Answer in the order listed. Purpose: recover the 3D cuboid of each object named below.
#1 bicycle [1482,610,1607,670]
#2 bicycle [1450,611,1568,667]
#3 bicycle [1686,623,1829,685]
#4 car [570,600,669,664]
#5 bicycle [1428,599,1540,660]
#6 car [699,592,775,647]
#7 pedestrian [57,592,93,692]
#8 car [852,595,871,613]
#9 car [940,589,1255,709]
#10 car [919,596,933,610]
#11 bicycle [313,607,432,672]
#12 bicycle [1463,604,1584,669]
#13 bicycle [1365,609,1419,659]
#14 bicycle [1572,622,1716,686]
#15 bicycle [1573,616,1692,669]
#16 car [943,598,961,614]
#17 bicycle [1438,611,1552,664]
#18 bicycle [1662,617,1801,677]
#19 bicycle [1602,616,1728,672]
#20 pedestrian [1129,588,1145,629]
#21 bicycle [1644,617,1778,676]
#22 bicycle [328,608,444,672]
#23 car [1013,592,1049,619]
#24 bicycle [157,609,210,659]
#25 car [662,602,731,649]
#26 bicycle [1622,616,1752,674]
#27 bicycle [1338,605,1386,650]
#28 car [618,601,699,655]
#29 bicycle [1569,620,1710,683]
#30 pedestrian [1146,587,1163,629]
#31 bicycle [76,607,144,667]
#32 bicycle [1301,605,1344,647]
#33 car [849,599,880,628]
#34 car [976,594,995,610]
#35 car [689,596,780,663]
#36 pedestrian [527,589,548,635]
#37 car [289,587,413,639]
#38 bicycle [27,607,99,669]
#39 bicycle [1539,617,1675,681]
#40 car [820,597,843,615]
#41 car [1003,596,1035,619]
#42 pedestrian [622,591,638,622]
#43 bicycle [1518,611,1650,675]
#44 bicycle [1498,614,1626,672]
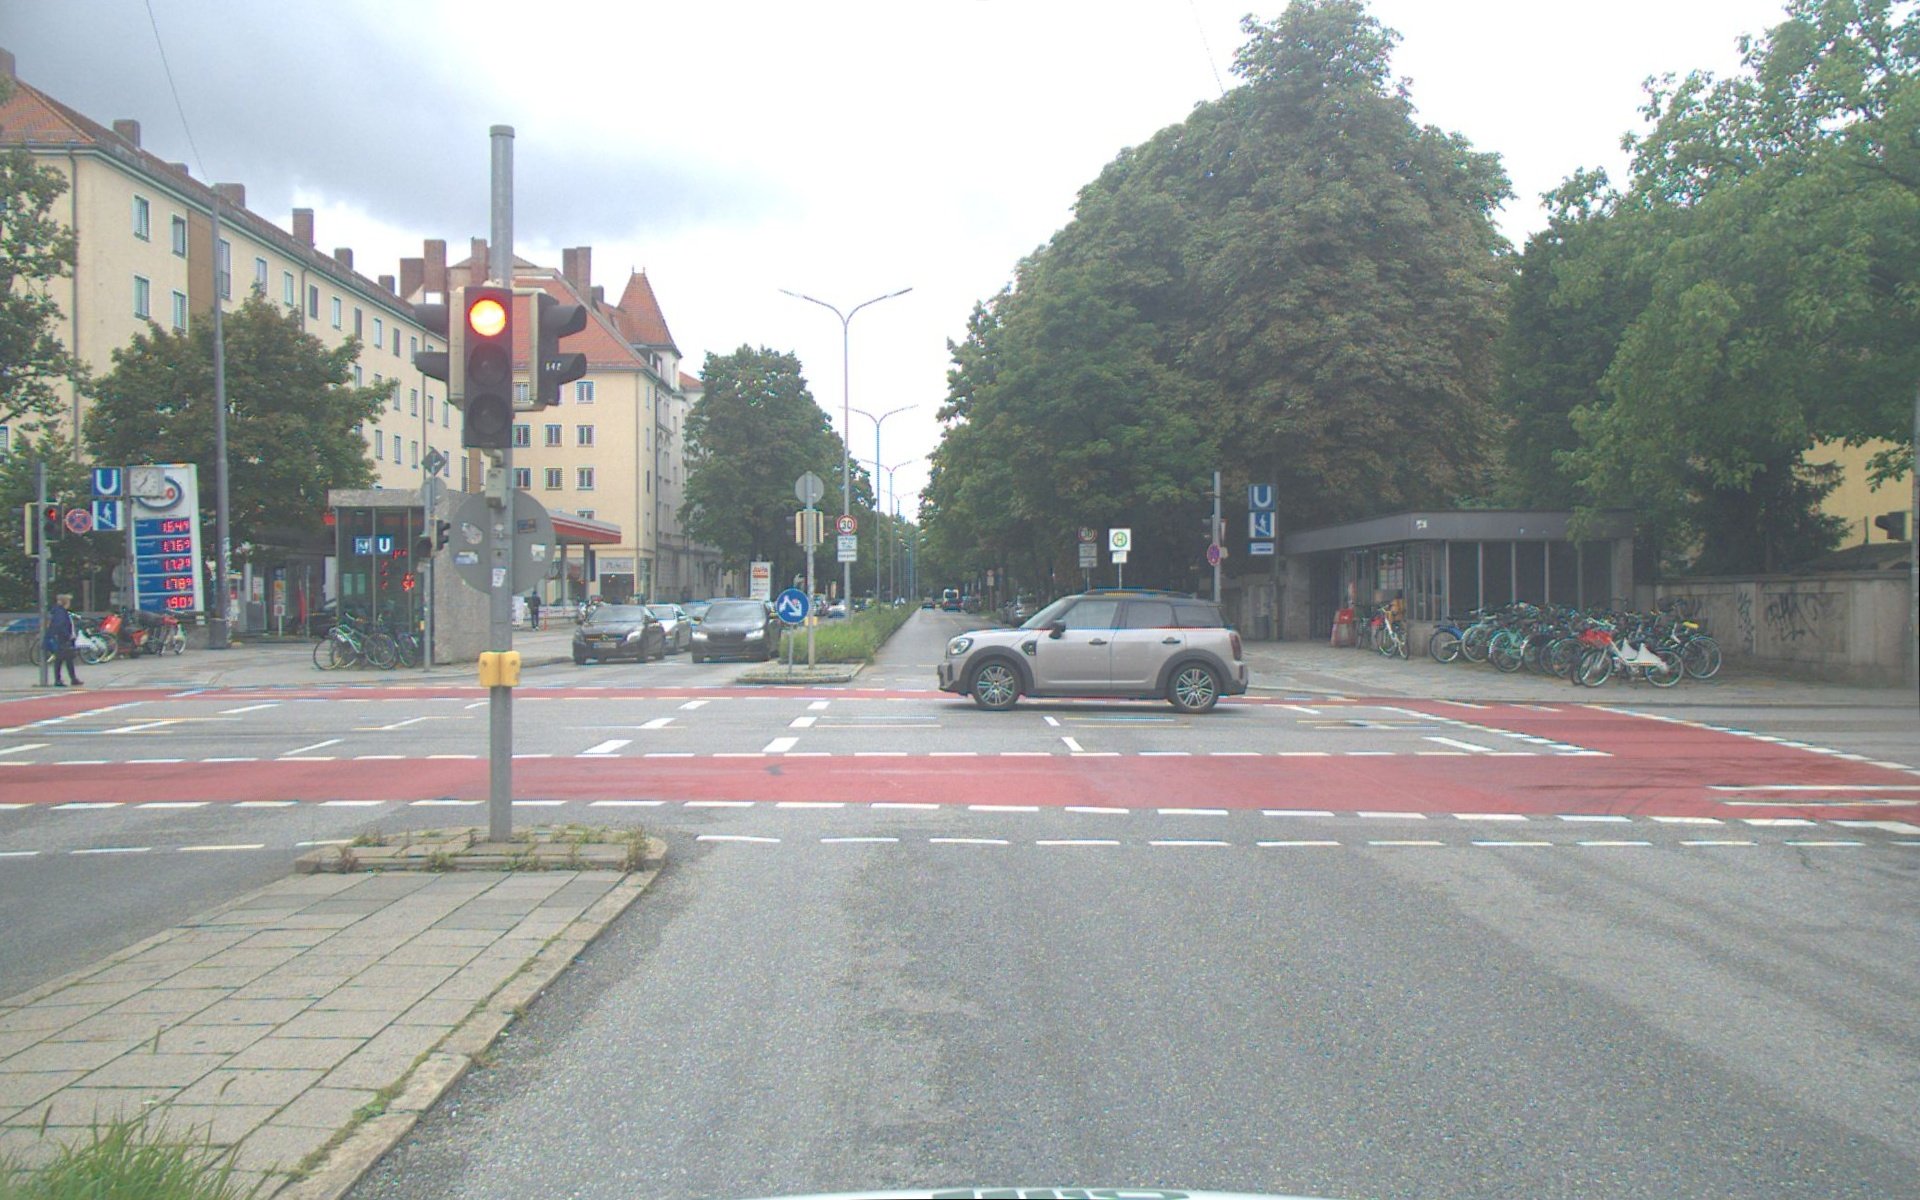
[{"bbox_3d":[10.833,0.740,30.690,2.097,1.105,0.603,0,0,7],"label":"bicycle"},{"bbox_3d":[10.648,0.753,32.126,2.097,1.080,0.603,0,0,7],"label":"bicycle"},{"bbox_3d":[13.548,0.920,28.141,2.097,1.032,0.634,0,0,7],"label":"bicycle"},{"bbox_3d":[-8.481,0.761,41.490,1.724,1.486,3.999,0,0,-1],"label":"car"},{"bbox_3d":[10.674,0.599,33.723,2.097,1.240,0.603,0,0,7],"label":"bicycle"},{"bbox_3d":[-6.428,0.529,48.023,1.724,1.519,3.999,0,0,-1],"label":"car"},{"bbox_3d":[-15.458,0.726,28.896,0.527,1.725,0.572,0,0,-27],"label":"pedestrian"},{"bbox_3d":[-10.618,0.398,178.916,1.912,1.855,3.999,0,0,-1],"label":"car"},{"bbox_3d":[1.793,0.636,22.437,4.084,1.540,1.695,0,0,-2],"label":"car"},{"bbox_3d":[-4.361,0.394,210.609,1.819,1.713,3.999,0,0,-1],"label":"car"},{"bbox_3d":[-12.299,0.816,34.662,2.225,1.327,0.704,0,0,0],"label":"bicycle"},{"bbox_3d":[10.691,0.691,31.425,2.097,1.199,0.603,0,0,7],"label":"bicycle"},{"bbox_3d":[9.442,0.734,36.217,0.545,1.032,2.014,0,0,-3],"label":"bicycle"},{"bbox_3d":[11.222,0.879,27.169,2.097,1.032,0.603,0,0,7],"label":"bicycle"},{"bbox_3d":[13.340,0.838,32.863,2.097,1.032,0.634,0,0,7],"label":"bicycle"},{"bbox_3d":[-0.928,0.608,182.674,1.884,1.713,3.999,0,0,-1],"label":"car"},{"bbox_3d":[10.660,0.739,33.007,2.097,1.032,0.603,0,0,7],"label":"bicycle"},{"bbox_3d":[13.483,0.820,28.938,2.097,1.032,0.634,0,0,7],"label":"bicycle"},{"bbox_3d":[13.312,0.826,31.281,2.097,1.032,0.634,0,0,7],"label":"bicycle"},{"bbox_3d":[7.299,0.349,68.180,0.663,1.712,0.683,0,0,5],"label":"pedestrian"},{"bbox_3d":[13.474,0.825,29.705,2.097,1.032,0.634,0,0,7],"label":"bicycle"},{"bbox_3d":[-12.289,0.854,35.442,2.238,1.327,0.694,0,0,0],"label":"bicycle"},{"bbox_3d":[3.813,0.280,89.759,1.708,1.387,3.805,0,0,-1],"label":"car"},{"bbox_3d":[-18.839,0.810,40.164,0.596,1.165,1.962,0,0,-7],"label":"bicycle"},{"bbox_3d":[-8.753,0.830,55.182,1.724,1.486,3.999,0,0,-1],"label":"car"},{"bbox_3d":[13.380,0.825,30.497,2.097,1.032,0.634,0,0,7],"label":"bicycle"},{"bbox_3d":[9.443,0.634,38.951,0.545,1.032,2.014,0,0,-3],"label":"bicycle"},{"bbox_3d":[-8.754,0.791,48.273,1.724,1.486,3.999,0,0,-1],"label":"car"},{"bbox_3d":[11.406,0.866,27.796,2.097,1.032,0.634,0,0,7],"label":"bicycle"},{"bbox_3d":[8.029,0.332,68.169,0.663,1.712,0.683,0,0,5],"label":"pedestrian"},{"bbox_3d":[-18.484,0.787,36.018,0.596,1.257,2.183,0,0,-7],"label":"bicycle"},{"bbox_3d":[9.219,0.651,42.123,0.545,1.032,2.014,0,0,-3],"label":"bicycle"},{"bbox_3d":[-4.919,0.666,85.215,1.438,1.423,3.699,0,0,-1],"label":"car"},{"bbox_3d":[2.423,0.165,159.596,1.708,1.452,3.898,0,0,-1],"label":"car"},{"bbox_3d":[-5.438,0.679,40.279,1.724,1.519,3.999,0,0,-1],"label":"car"},{"bbox_3d":[-18.930,0.547,74.099,0.715,2.049,0.834,1,-1,-1],"label":"pedestrian"},{"bbox_3d":[-22.534,0.470,61.301,3.908,1.870,1.879,0,0,-4],"label":"car"},{"bbox_3d":[-19.055,0.790,35.185,0.596,1.257,2.183,0,0,-7],"label":"bicycle"},{"bbox_3d":[11.174,0.842,28.597,2.097,1.089,0.603,0,0,7],"label":"bicycle"},{"bbox_3d":[-10.707,0.503,137.797,1.724,1.486,3.999,0,0,-1],"label":"car"},{"bbox_3d":[3.552,0.444,99.782,1.708,1.387,3.805,0,0,-1],"label":"car"},{"bbox_3d":[-17.441,0.342,87.325,0.682,1.666,0.738,0,0,-1],"label":"pedestrian"},{"bbox_3d":[11.026,0.758,29.249,2.097,1.120,0.603,0,0,7],"label":"bicycle"},{"bbox_3d":[10.886,0.776,29.961,2.097,1.032,0.603,0,0,7],"label":"bicycle"}]
